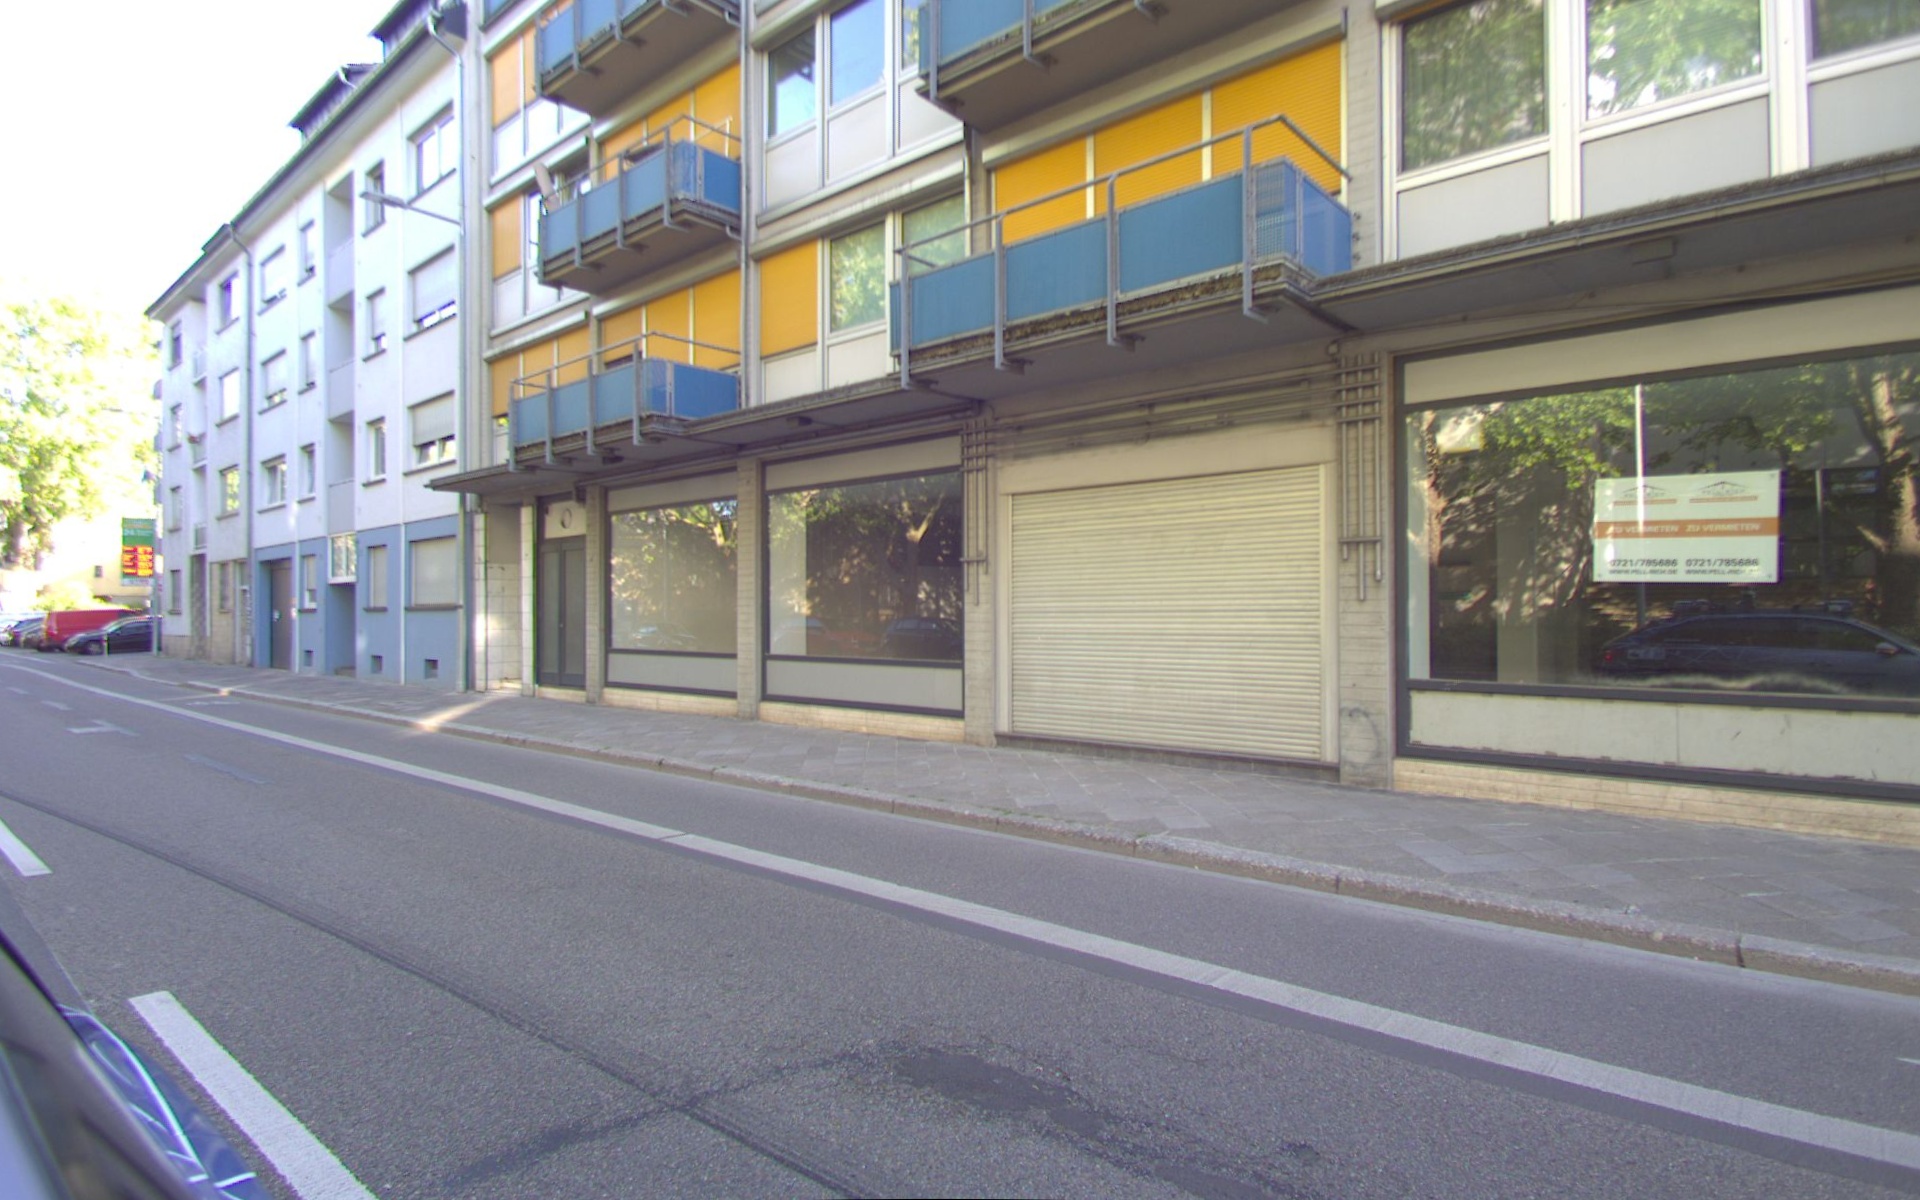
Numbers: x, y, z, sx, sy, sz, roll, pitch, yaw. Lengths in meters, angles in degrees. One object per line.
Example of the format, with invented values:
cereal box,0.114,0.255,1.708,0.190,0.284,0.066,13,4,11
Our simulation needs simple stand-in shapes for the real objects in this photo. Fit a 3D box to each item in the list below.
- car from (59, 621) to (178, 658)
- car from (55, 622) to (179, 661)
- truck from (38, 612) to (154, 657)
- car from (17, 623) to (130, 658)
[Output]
car,-38.113,1.761,45.907,1.761,1.514,3.944,-1,0,42
car,-36.633,1.765,44.020,1.761,1.468,3.944,-1,0,42
truck,-40.504,1.574,47.499,1.761,1.951,3.944,-1,0,42
car,-42.914,1.906,49.046,1.761,1.514,3.944,-1,0,42
